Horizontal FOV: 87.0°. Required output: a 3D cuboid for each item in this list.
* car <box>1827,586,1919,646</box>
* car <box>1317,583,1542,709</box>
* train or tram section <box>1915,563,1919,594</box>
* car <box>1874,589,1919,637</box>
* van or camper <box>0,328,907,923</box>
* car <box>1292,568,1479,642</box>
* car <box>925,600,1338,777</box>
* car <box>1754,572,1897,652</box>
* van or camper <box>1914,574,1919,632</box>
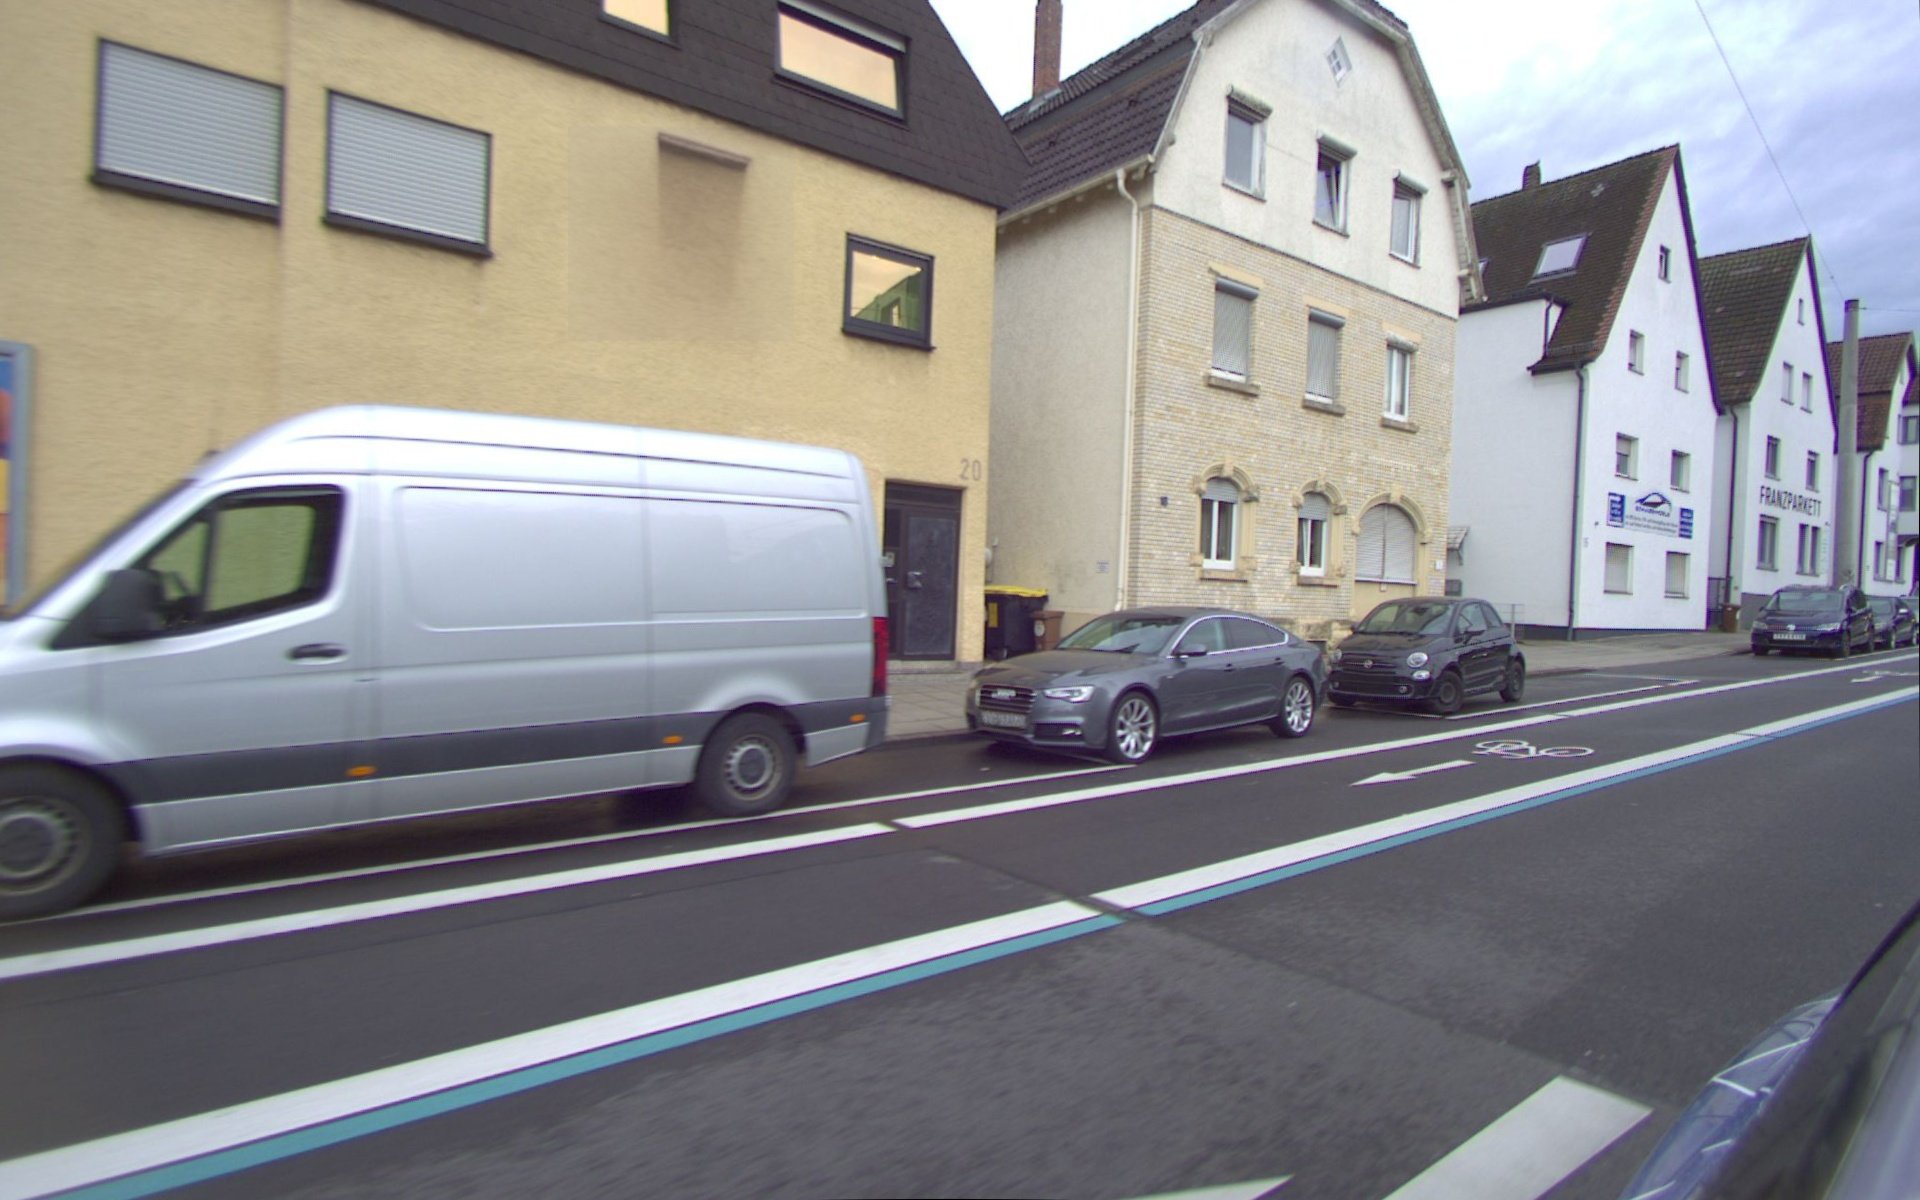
[{"bbox_3d":[25.658,0.401,28.082,4.060,1.558,1.638,-1,0,-38],"label":"car"},{"bbox_3d":[6.549,0.539,13.982,3.452,1.517,1.567,-1,0,-41],"label":"car"},{"bbox_3d":[124.595,-2.673,123.973,2.838,4.020,19.225,-1,1,17],"label":"train or tram section"},{"bbox_3d":[30.203,0.376,31.402,4.582,1.393,1.802,-1,2,-35],"label":"car"},{"bbox_3d":[-3.330,0.120,6.361,5.932,2.596,1.998,1,-1,-38],"label":"van or camper"},{"bbox_3d":[10.871,0.069,26.065,1.837,1.674,3.997,0,3,-39],"label":"car"},{"bbox_3d":[1.922,0.714,10.380,4.474,1.424,1.791,0,0,-41],"label":"car"},{"bbox_3d":[21.735,0.253,25.351,4.601,1.823,1.844,-1,0,-38],"label":"car"},{"bbox_3d":[34.659,0.104,34.836,4.903,1.944,1.856,-1,2,-37],"label":"van or camper"}]
